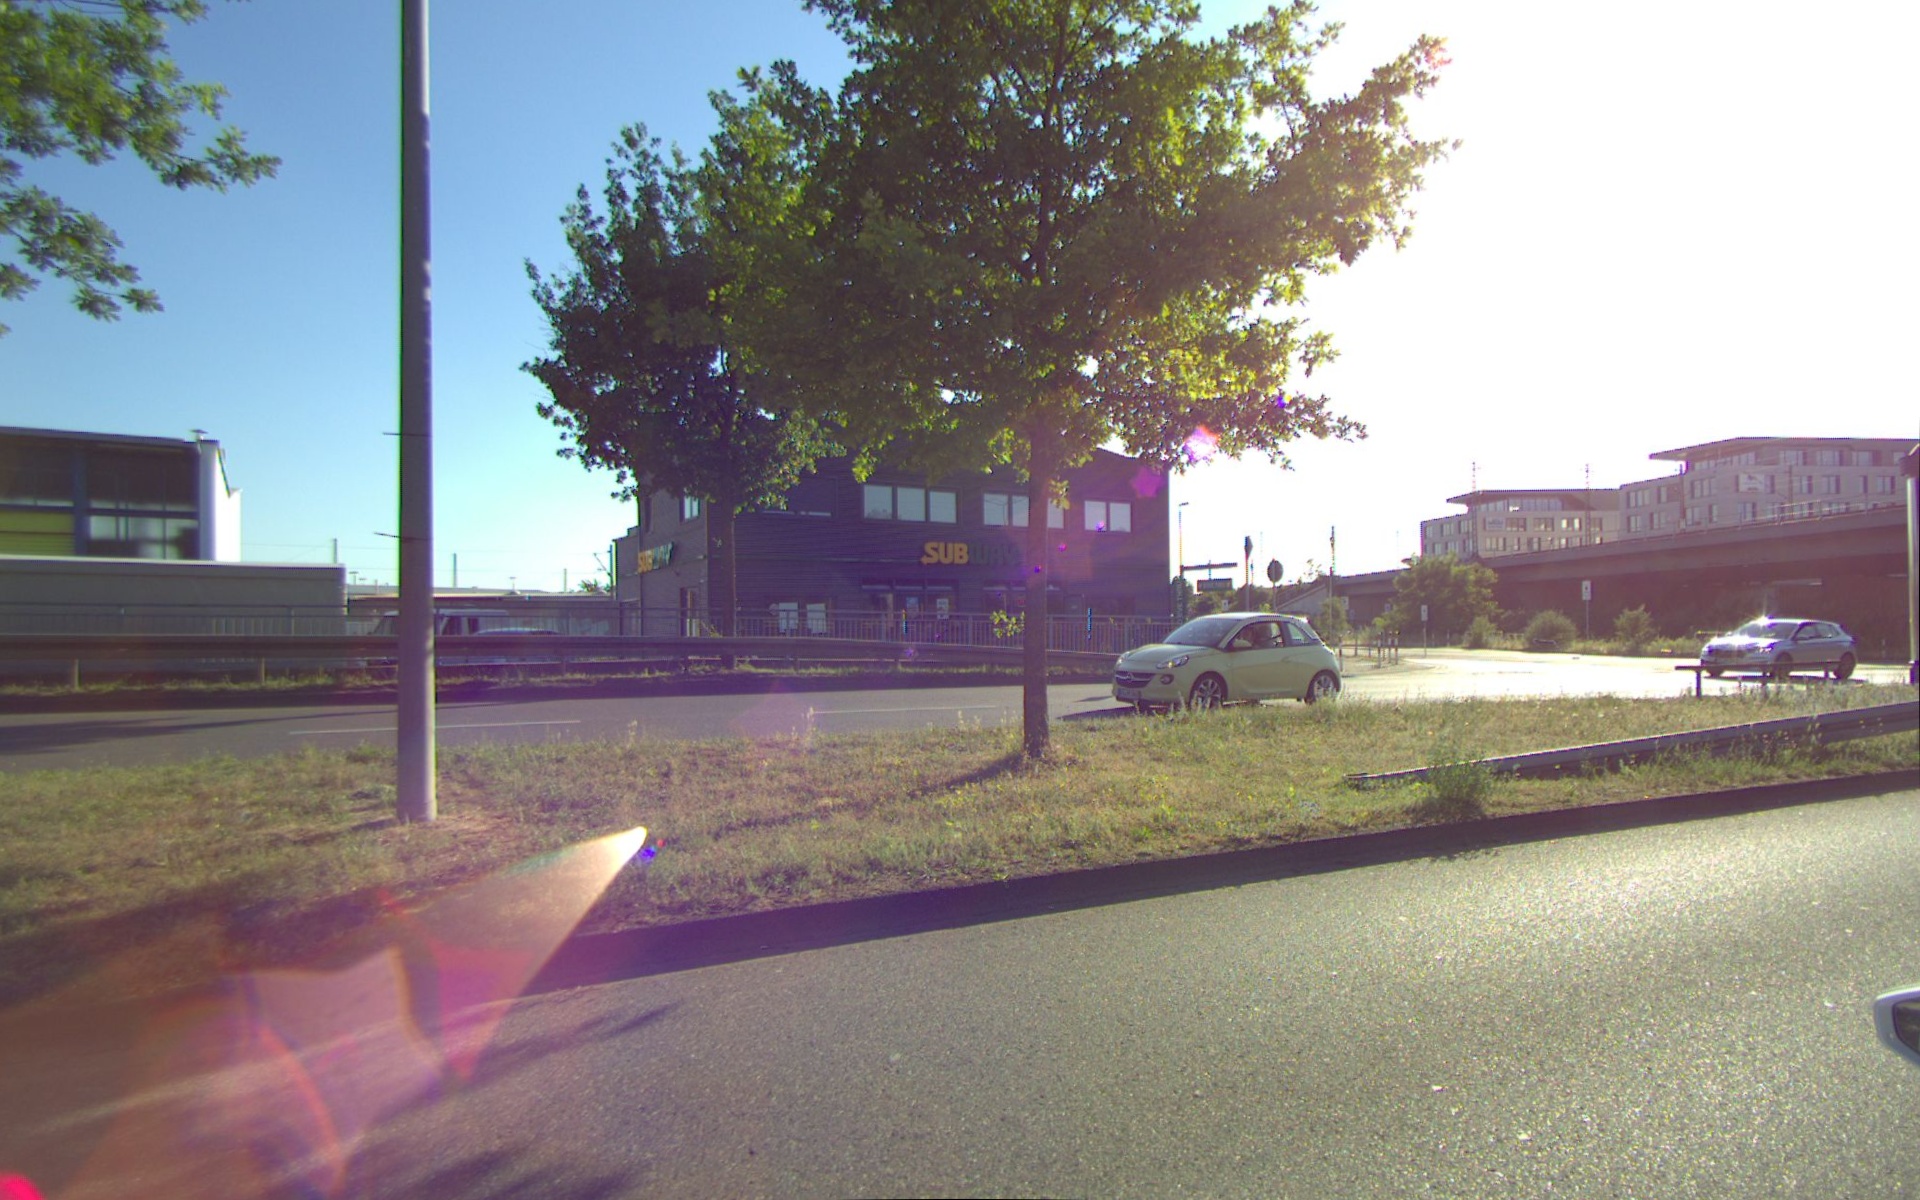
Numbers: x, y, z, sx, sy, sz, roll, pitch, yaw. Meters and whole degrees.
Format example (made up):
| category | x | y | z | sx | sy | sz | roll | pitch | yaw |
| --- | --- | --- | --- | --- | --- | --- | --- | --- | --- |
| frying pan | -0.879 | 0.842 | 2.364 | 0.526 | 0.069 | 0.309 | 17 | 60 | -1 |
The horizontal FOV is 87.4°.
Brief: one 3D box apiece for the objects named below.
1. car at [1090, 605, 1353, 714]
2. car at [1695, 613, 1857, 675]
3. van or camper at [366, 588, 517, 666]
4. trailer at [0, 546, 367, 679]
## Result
| category | x | y | z | sx | sy | sz | roll | pitch | yaw |
| --- | --- | --- | --- | --- | --- | --- | --- | --- | --- |
| car | 4.026 | 0.902 | 15.414 | 3.718 | 1.482 | 1.734 | 2 | -2 | -28 |
| car | 20.911 | 1.129 | 25.725 | 4.050 | 1.482 | 1.667 | 2 | -2 | -25 |
| van or camper | -14.345 | 0.792 | 28.129 | 1.961 | 1.951 | 4.230 | 2 | -2 | 0 |
| trailer | -13.855 | 0.244 | 16.918 | 6.536 | 1.996 | 2.405 | 2 | -2 | -33 |
